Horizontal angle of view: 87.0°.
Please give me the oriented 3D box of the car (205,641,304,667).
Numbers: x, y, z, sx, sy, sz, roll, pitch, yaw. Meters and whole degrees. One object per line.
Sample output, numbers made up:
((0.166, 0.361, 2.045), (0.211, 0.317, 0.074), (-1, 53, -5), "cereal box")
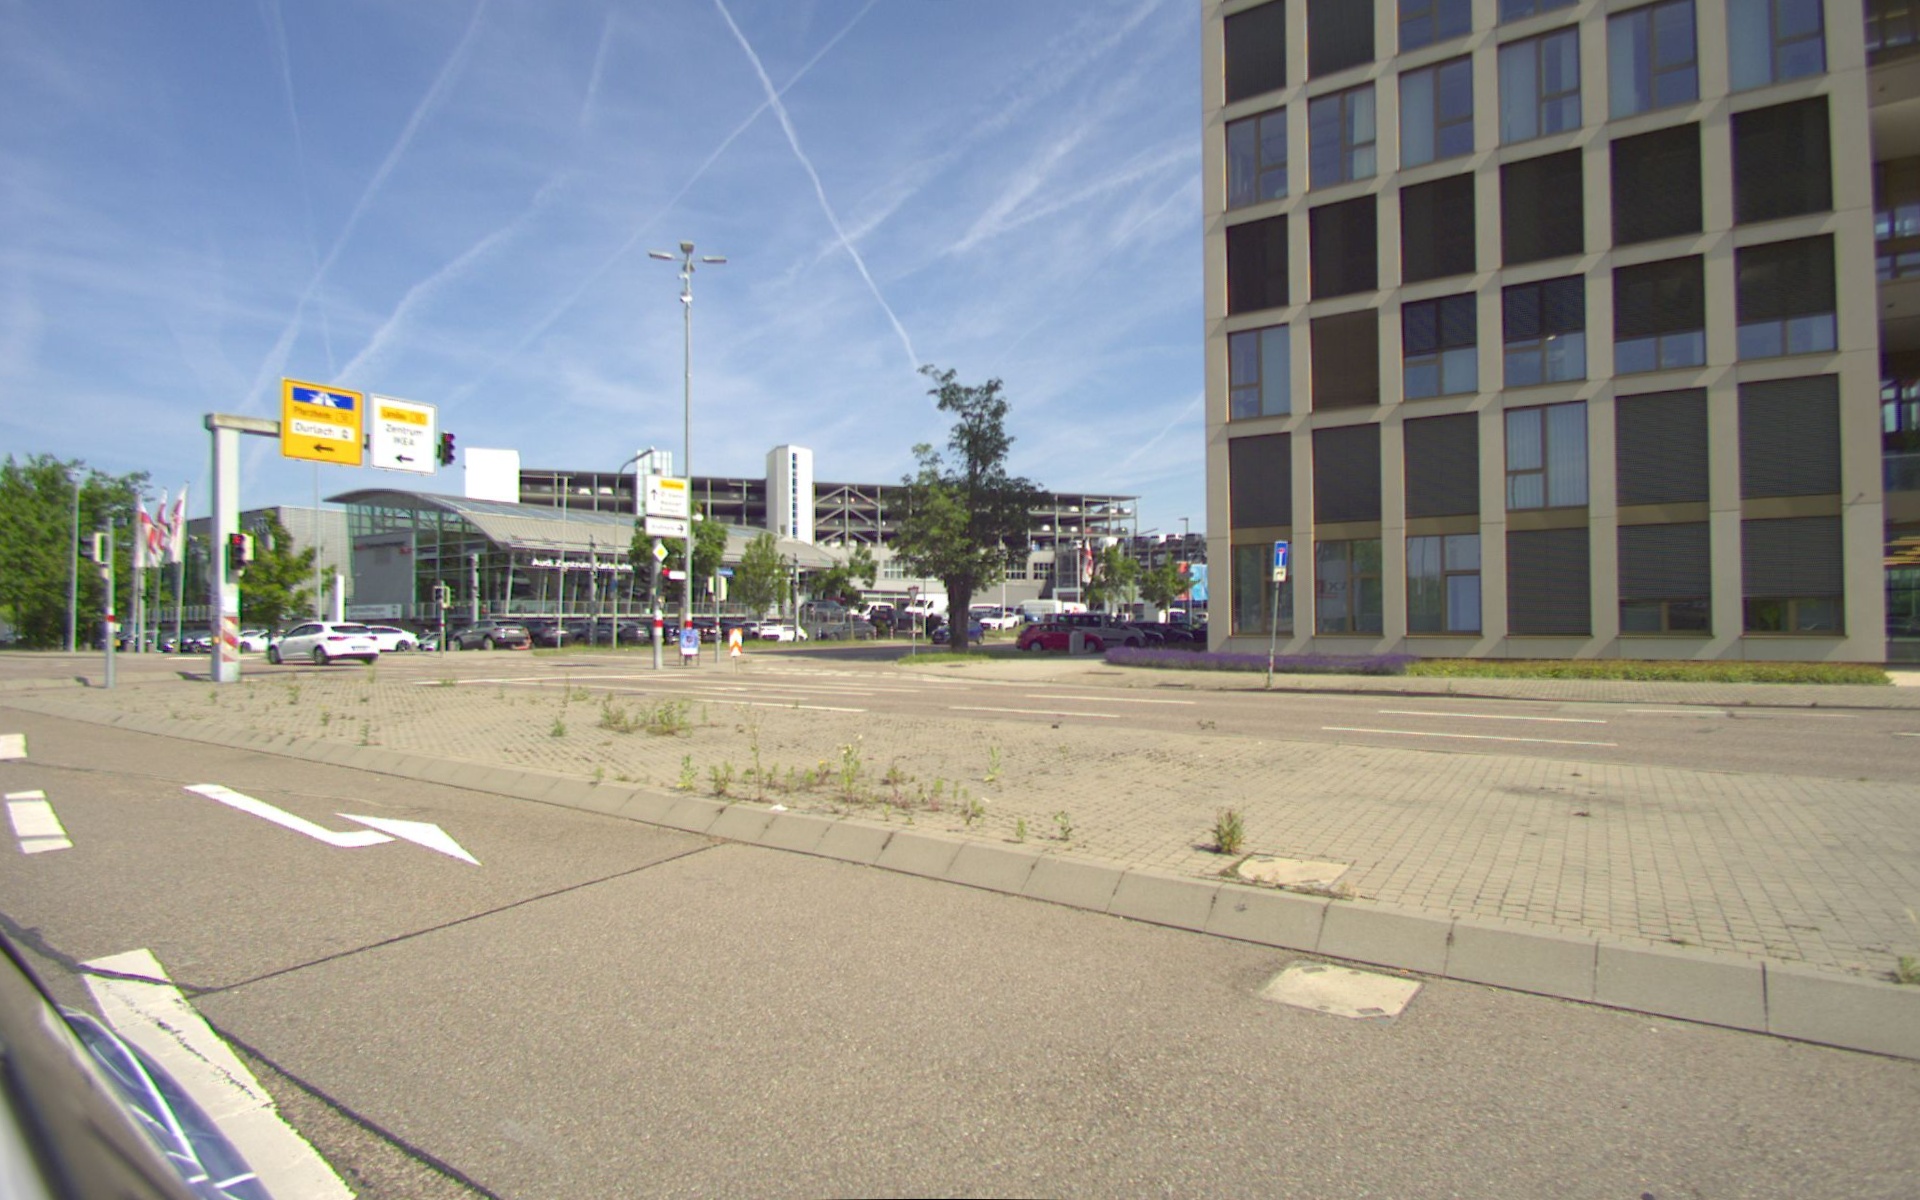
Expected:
((-38.865, 3.008, 55.834), (1.872, 1.380, 4.041), (-2, -4, 32), "car")

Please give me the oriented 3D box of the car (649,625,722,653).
((-17.121, 2.437, 63.074), (4.616, 1.453, 1.774), (-5, -4, 32), "car")

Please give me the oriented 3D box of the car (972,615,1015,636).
((2.892, 2.130, 86.138), (1.992, 1.586, 3.945), (-2, 0, 30), "car")

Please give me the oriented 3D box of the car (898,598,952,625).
((-3.080, 1.011, 90.455), (2.082, 2.360, 5.489), (-2, -1, 33), "car")

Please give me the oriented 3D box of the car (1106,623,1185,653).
((10.108, 2.051, 55.262), (3.899, 1.509, 1.665), (-1, -2, -10), "car")

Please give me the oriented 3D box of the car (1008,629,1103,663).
((4.333, 2.072, 46.256), (3.965, 1.426, 1.811), (-1, -2, -9), "car")

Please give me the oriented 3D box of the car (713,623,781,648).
((-14.262, 2.394, 67.661), (4.544, 1.453, 1.774), (-4, -3, 32), "car")

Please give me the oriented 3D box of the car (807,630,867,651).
((-8.940, 2.974, 73.895), (3.958, 1.453, 1.803), (1, -2, -31), "car")

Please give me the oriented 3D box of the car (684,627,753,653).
((-15.606, 2.574, 65.320), (4.387, 1.453, 1.774), (-4, -3, 32), "car")

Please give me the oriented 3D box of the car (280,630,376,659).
((-32.143, 2.248, 51.580), (1.757, 1.413, 3.806), (-2, -2, 30), "car")

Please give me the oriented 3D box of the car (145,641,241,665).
((-45.586, 3.163, 60.231), (1.848, 1.345, 4.143), (-2, -4, 32), "car")

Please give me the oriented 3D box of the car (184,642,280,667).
((-41.097, 3.083, 57.202), (1.862, 1.329, 3.956), (-2, -4, 32), "car")

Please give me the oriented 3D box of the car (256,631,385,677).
((-21.653, 1.811, 34.231), (4.313, 1.472, 1.770), (-2, -3, 28), "car")

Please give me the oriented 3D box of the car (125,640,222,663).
((-48.043, 3.171, 61.898), (1.823, 1.365, 4.248), (-2, -4, 31), "car")

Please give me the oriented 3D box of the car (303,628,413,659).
((-29.926, 2.126, 50.444), (1.895, 1.443, 4.336), (-2, -2, 34), "car")

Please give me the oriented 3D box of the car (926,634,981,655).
((-0.378, 2.851, 65.078), (1.657, 1.299, 3.757), (-1, -2, 37), "car")

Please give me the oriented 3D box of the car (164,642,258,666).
((-43.282, 3.125, 58.542), (1.832, 1.329, 3.954), (-2, -4, 33), "car")

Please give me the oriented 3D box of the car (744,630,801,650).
((-14.393, 3.036, 77.800), (3.958, 1.453, 1.803), (0, -2, -28), "car")

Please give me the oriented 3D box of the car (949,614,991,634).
((0.892, 2.101, 87.360), (1.992, 1.586, 3.945), (-2, 0, 30), "car")

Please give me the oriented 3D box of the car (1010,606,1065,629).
((7.290, 1.674, 95.140), (4.735, 2.029, 1.978), (-2, -2, 32), "car")

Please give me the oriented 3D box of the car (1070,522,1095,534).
((21.527, -12.671, 178.022), (3.981, 1.729, 2.017), (-1, -2, 28), "car")

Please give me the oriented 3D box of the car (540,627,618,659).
((-21.230, 2.400, 56.299), (4.361, 1.556, 1.774), (-5, -4, 32), "car")

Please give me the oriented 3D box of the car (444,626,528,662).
((-24.275, 2.264, 51.781), (4.582, 1.626, 1.799), (-5, -4, 33), "car")

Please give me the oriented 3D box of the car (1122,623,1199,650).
((11.535, 2.101, 58.386), (3.935, 1.491, 1.693), (-1, -2, -10), "car")

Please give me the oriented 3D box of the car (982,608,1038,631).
((4.466, 1.771, 90.679), (4.735, 2.029, 1.978), (-2, -2, 32), "car")

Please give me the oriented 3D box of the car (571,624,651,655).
((-20.247, 2.296, 58.668), (4.761, 1.517, 1.774), (-5, -4, 32), "car")

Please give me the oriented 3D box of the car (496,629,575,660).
((-22.622, 2.388, 53.870), (4.186, 1.453, 1.774), (-5, -4, 32), "car")

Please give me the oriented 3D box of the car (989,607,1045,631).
((5.210, 1.763, 92.925), (4.735, 2.029, 1.978), (-2, -2, 32), "car")

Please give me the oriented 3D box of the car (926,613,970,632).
((-1.057, 1.952, 89.025), (1.994, 1.586, 3.941), (-2, -1, 33), "car")

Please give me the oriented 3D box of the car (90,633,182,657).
((-52.642, 2.913, 64.736), (1.796, 1.405, 4.183), (-2, -4, 32), "car")

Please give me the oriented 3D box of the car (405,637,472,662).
((-33.403, 3.171, 64.875), (1.654, 1.484, 3.482), (-2, -2, 31), "car")

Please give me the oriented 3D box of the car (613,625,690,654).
((-18.600, 2.369, 60.961), (4.659, 1.529, 1.764), (-4, -4, 32), "car")

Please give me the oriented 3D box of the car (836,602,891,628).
((-7.569, 1.162, 80.004), (2.081, 1.922, 4.501), (3, 1, 30), "car")

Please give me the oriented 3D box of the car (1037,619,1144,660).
((6.337, 1.905, 49.360), (4.735, 1.835, 1.902), (-1, -2, -11), "car")
